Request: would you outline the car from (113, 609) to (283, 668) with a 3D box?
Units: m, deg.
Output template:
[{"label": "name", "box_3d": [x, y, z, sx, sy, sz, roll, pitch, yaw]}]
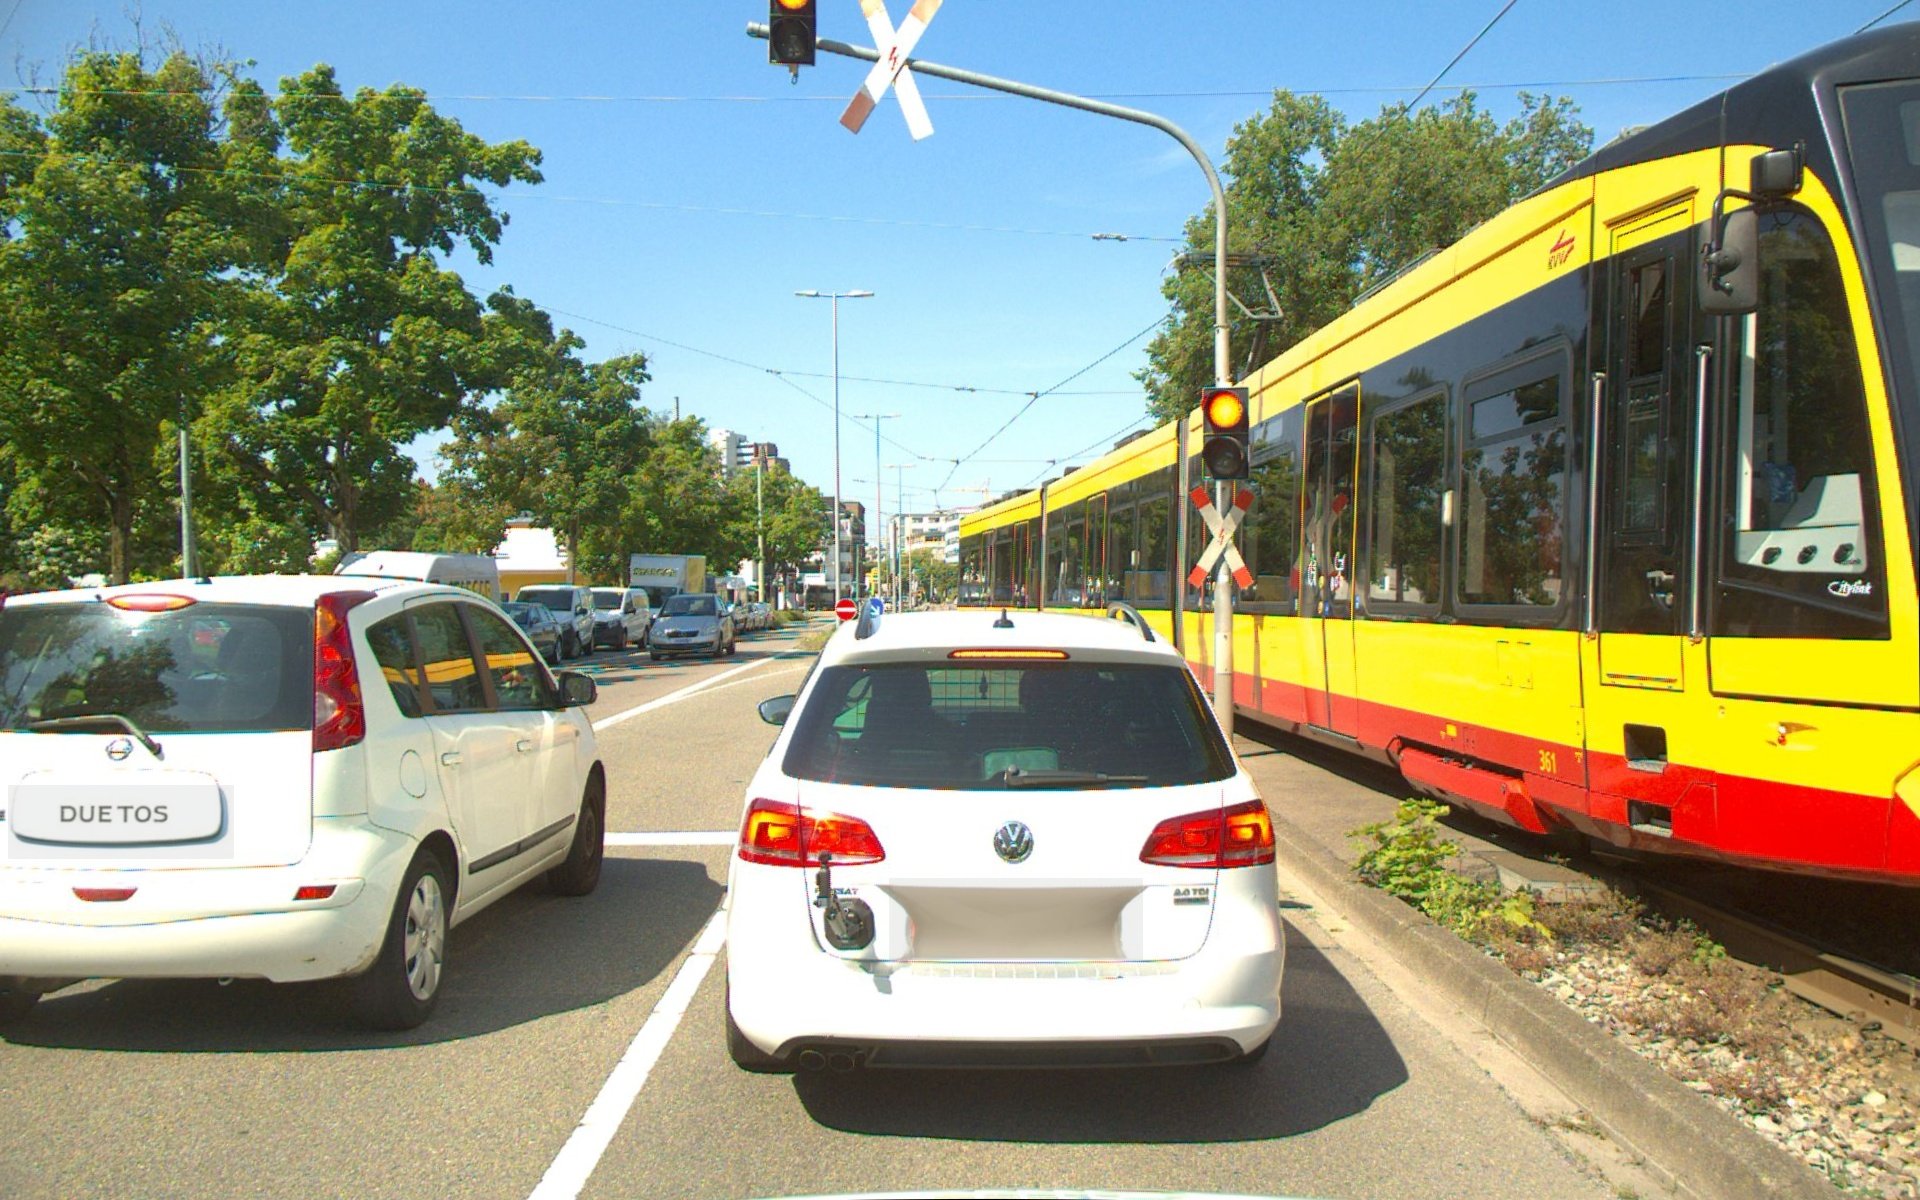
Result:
[{"label": "car", "box_3d": [-21.301, 1.066, 46.324, 3.909, 1.440, 1.728, -2, 0, -5]}]

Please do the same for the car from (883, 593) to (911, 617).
[{"label": "car", "box_3d": [-4.247, 0.320, 112.456, 1.670, 1.499, 4.589, -1, 0, 0]}]

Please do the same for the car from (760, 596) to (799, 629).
[{"label": "car", "box_3d": [-10.702, 0.723, 98.428, 1.826, 1.900, 5.412, 1, 0, -1]}]

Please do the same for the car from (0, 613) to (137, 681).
[{"label": "car", "box_3d": [-21.636, 1.122, 38.636, 3.909, 1.440, 1.728, -2, 0, -5]}]

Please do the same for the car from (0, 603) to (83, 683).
[{"label": "car", "box_3d": [-21.075, 0.967, 35.121, 3.909, 1.638, 1.728, -2, 0, -5]}]

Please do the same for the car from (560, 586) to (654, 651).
[{"label": "car", "box_3d": [-10.963, 0.535, 51.727, 1.826, 1.900, 5.412, 1, 0, -1]}]

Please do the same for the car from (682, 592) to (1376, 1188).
[{"label": "car", "box_3d": [0.150, 0.720, 6.178, 1.726, 1.455, 3.999, -1, 0, -1]}]

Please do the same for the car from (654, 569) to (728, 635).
[{"label": "car", "box_3d": [-11.005, 0.073, 68.150, 2.079, 2.560, 5.733, 1, 0, 0]}]

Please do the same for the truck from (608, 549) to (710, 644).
[{"label": "truck", "box_3d": [-10.835, -0.144, 60.153, 2.371, 3.205, 6.996, 1, 0, 0]}]

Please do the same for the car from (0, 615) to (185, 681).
[{"label": "car", "box_3d": [-21.730, 1.173, 41.246, 3.909, 1.440, 1.728, -2, 0, -5]}]

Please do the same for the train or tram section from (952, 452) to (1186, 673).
[{"label": "train or tram section", "box_3d": [1.955, -0.704, 34.972, 2.817, 3.923, 10.519, -1, 0, -8]}]

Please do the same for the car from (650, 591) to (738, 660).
[{"label": "car", "box_3d": [-6.653, 0.610, 41.614, 1.642, 1.580, 3.579, -3, 0, -1]}]

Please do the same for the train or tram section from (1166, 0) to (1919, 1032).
[{"label": "train or tram section", "box_3d": [3.903, -0.736, 11.189, 2.813, 3.923, 12.384, -1, 0, -3]}]

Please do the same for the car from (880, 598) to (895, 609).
[{"label": "car", "box_3d": [-9.632, 0.462, 219.989, 1.670, 1.499, 4.589, -1, 0, 0]}]

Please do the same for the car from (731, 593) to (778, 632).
[{"label": "car", "box_3d": [-10.486, 0.588, 84.701, 1.826, 1.900, 5.412, 1, 0, -1]}]

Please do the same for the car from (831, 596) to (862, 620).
[{"label": "car", "box_3d": [-7.374, 0.490, 107.743, 1.670, 1.499, 4.589, -1, 0, 0]}]

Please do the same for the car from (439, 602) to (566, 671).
[{"label": "car", "box_3d": [-10.572, 0.807, 38.521, 1.826, 1.440, 4.278, 1, 0, -1]}]

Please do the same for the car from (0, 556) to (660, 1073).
[{"label": "car", "box_3d": [-2.564, 0.642, 7.316, 1.628, 1.575, 4.546, 0, 0, 0]}]

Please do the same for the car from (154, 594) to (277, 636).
[{"label": "car", "box_3d": [-34.371, 0.677, 76.490, 4.698, 1.819, 2.062, 1, 0, -5]}]

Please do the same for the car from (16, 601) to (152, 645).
[{"label": "car", "box_3d": [-37.776, 0.993, 71.384, 4.698, 1.819, 2.062, 1, 0, -5]}]

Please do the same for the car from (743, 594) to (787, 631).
[{"label": "car", "box_3d": [-10.755, 0.659, 91.511, 1.826, 1.900, 5.412, 1, 0, -1]}]

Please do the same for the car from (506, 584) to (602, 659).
[{"label": "car", "box_3d": [-11.011, 0.537, 45.139, 1.827, 1.900, 5.068, 1, 0, -6]}]

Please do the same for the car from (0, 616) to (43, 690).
[{"label": "car", "box_3d": [-20.731, 1.127, 32.928, 3.909, 1.440, 1.728, -2, 0, -5]}]

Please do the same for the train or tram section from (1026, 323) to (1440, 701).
[{"label": "train or tram section", "box_3d": [3.133, -0.964, 23.567, 2.814, 3.923, 12.379, -1, 0, -5]}]

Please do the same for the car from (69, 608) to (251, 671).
[{"label": "car", "box_3d": [-21.103, 1.030, 43.725, 3.909, 1.440, 1.728, -2, 0, -5]}]

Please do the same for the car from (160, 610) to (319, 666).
[{"label": "car", "box_3d": [-21.273, 1.109, 48.933, 3.909, 1.440, 1.728, -2, 0, -5]}]

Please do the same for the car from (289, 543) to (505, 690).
[{"label": "car", "box_3d": [-10.744, 0.280, 32.132, 2.079, 2.560, 5.817, 1, 0, 1]}]

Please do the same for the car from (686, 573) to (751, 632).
[{"label": "car", "box_3d": [-10.982, 0.108, 75.586, 2.079, 2.560, 5.733, 1, 0, 0]}]
